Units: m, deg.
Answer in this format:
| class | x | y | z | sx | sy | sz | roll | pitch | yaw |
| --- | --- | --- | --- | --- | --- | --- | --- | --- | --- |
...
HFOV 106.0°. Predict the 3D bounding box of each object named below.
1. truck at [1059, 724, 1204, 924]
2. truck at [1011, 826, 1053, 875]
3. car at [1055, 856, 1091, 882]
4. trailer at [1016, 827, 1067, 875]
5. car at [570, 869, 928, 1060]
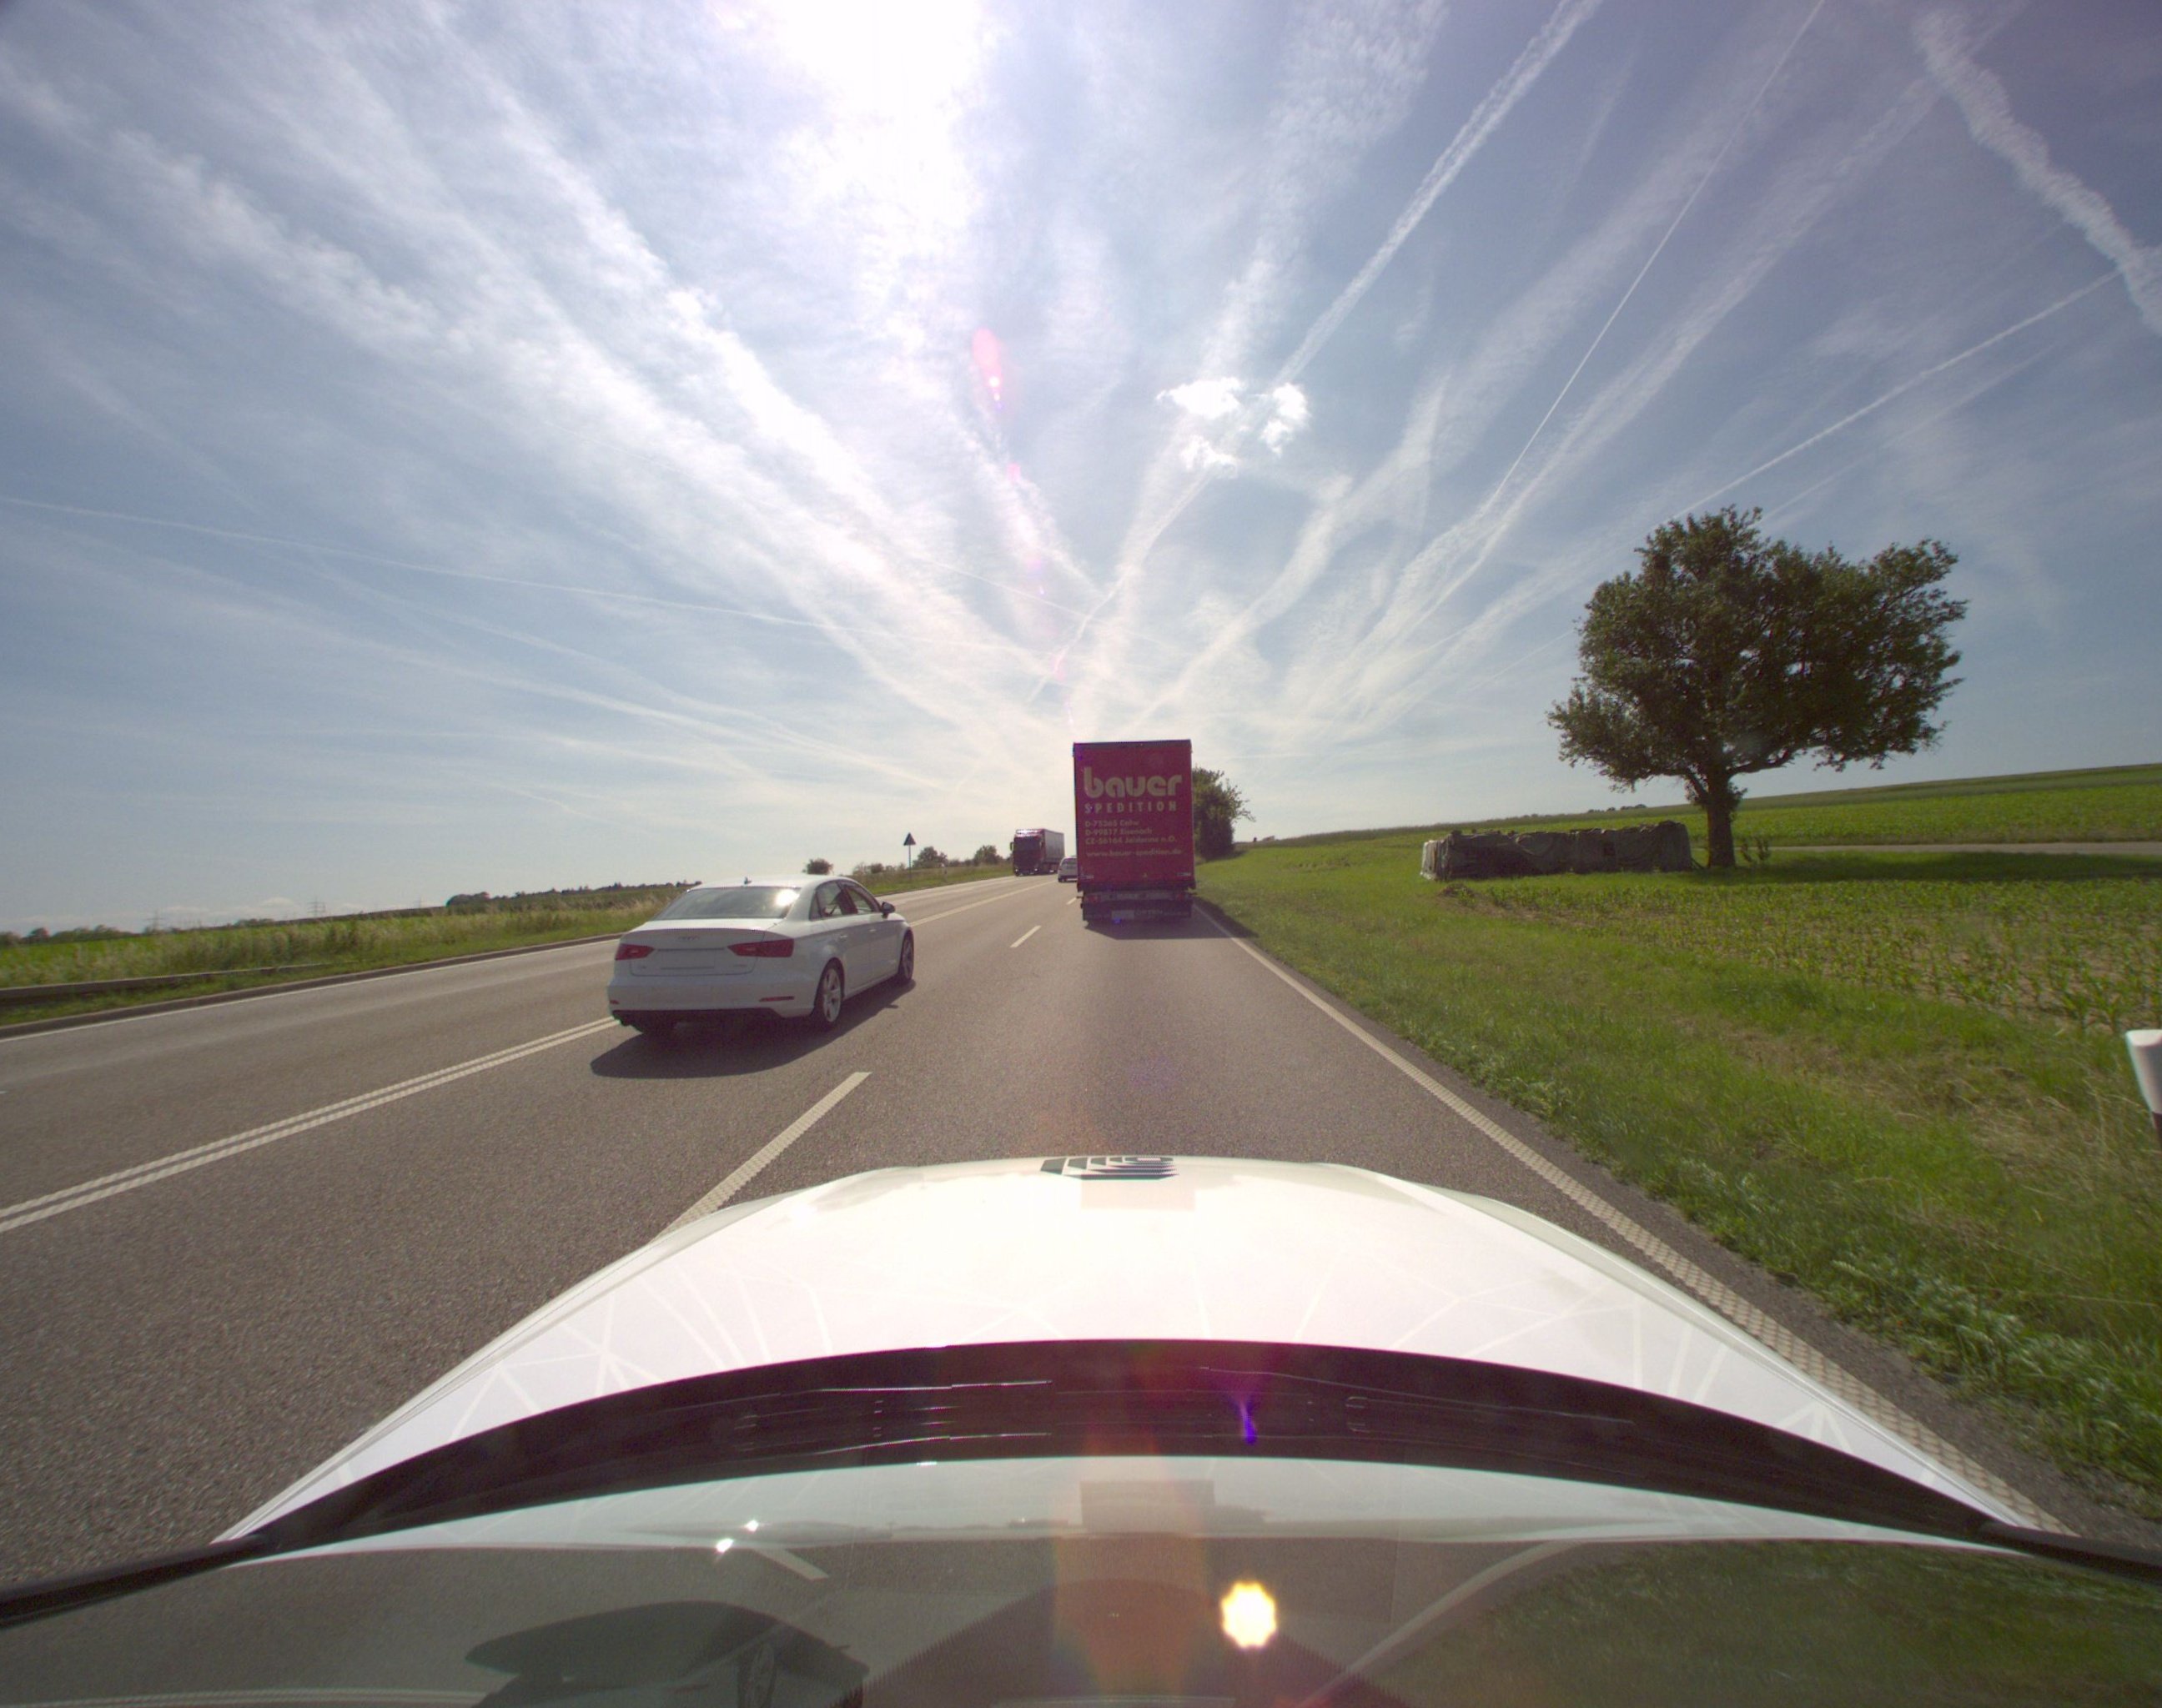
| class | x | y | z | sx | sy | sz | roll | pitch | yaw |
| --- | --- | --- | --- | --- | --- | --- | --- | --- | --- |
| truck | 1.525 | -0.577 | 25.450 | 2.994 | 4.180 | 16.727 | -1 | 0 | 3 |
| truck | -4.325 | -0.284 | 72.763 | 2.604 | 4.101 | 6.097 | -3 | 0 | 5 |
| car | -0.431 | 0.850 | 48.807 | 1.813 | 1.472 | 4.793 | -1 | 0 | 3 |
| trailer | -3.608 | -0.266 | 79.113 | 2.532 | 4.101 | 13.608 | -3 | 0 | 7 |
| car | -3.002 | 0.895 | 8.591 | 1.696 | 1.376 | 4.606 | -1 | 0 | 2 |
